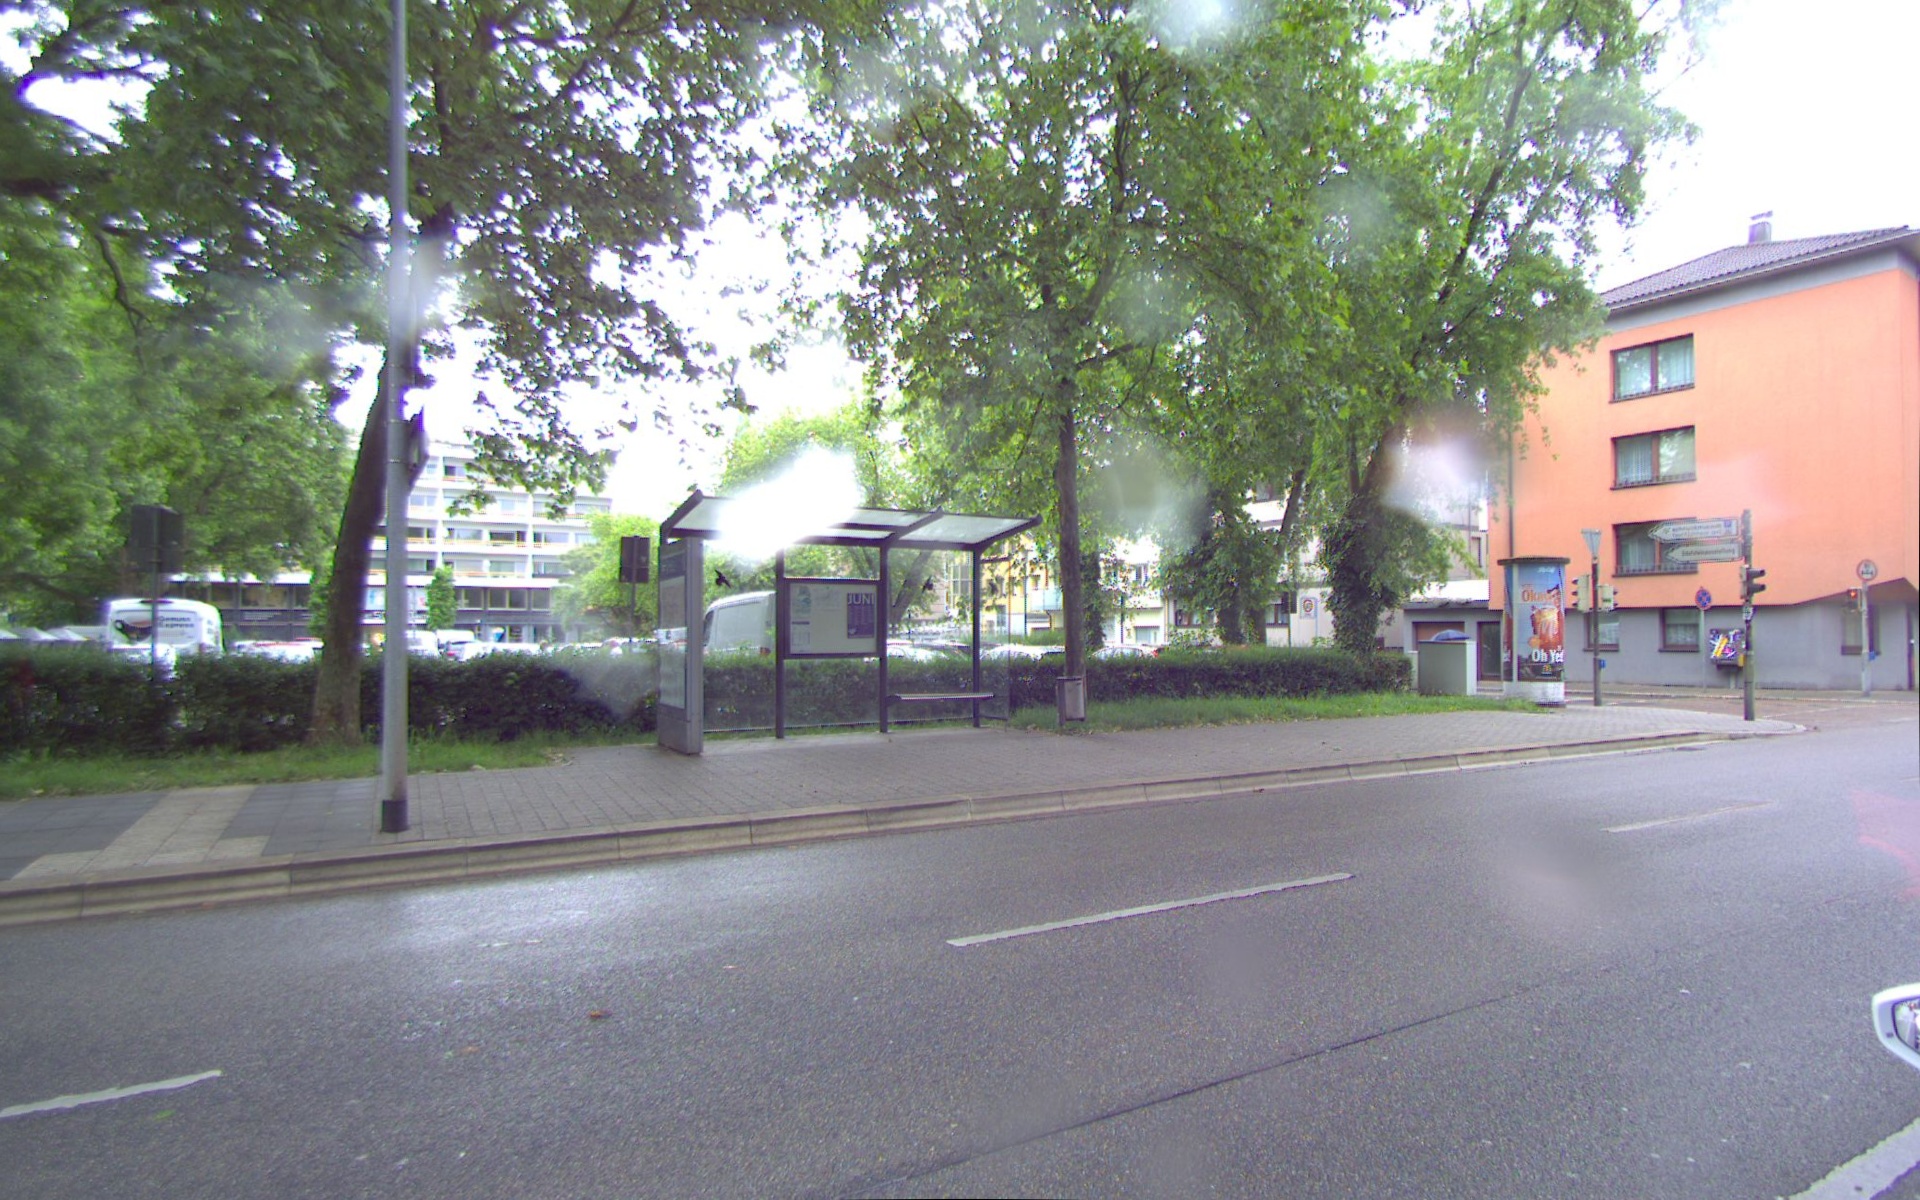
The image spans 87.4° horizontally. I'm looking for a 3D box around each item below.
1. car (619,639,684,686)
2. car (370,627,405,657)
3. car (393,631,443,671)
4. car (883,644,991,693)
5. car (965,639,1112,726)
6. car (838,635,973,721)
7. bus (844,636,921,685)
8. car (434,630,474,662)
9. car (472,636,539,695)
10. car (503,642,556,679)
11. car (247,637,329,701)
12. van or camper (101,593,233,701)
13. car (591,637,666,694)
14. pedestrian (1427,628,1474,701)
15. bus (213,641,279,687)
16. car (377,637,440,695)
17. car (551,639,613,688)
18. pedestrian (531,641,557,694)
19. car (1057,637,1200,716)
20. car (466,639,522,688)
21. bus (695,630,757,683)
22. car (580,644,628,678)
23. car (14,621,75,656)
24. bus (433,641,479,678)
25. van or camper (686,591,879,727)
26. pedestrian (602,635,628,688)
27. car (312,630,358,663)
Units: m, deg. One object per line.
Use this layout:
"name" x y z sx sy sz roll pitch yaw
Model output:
"car" -9.994 1.993 32.470 1.375 1.454 3.248 1 -3 -29
"car" -33.043 2.402 57.913 1.622 1.544 3.174 1 1 -32
"car" -20.901 1.947 38.685 1.587 1.447 3.293 2 -3 -30
"car" -0.834 2.226 33.515 1.799 1.536 3.965 2 -3 -33
"car" 1.583 1.659 21.168 1.492 1.544 3.174 2 0 -32
"car" -1.212 1.575 21.184 1.492 1.544 3.174 2 0 -32
"bus" -2.464 1.880 31.546 1.364 1.451 2.777 2 -3 -30
"car" -27.316 2.456 54.173 1.622 1.544 3.174 2 0 -32
"car" -12.091 1.711 26.646 1.375 1.454 3.248 1 -3 -29
"car" -17.697 2.455 41.235 1.587 1.447 3.293 2 -3 -30
"car" -16.512 1.662 24.787 1.375 1.454 3.248 1 -3 -29
"van or camper" -20.699 1.226 26.419 2.074 2.570 4.392 1 -3 -30
"car" -9.113 1.753 27.502 1.375 1.454 3.248 1 -3 -29
"pedestrian" 12.445 1.603 25.473 0.977 1.765 1.207 1 0 29
"bus" -25.616 2.278 36.127 1.587 1.559 3.403 2 -3 -30
"car" -14.734 1.739 26.847 1.375 1.454 3.248 1 -3 -29
"car" -11.959 1.968 31.677 1.375 1.454 3.248 1 -3 -29
"pedestrian" -9.856 1.596 23.803 0.462 1.229 0.434 2 0 -37
"car" 3.803 1.684 23.038 1.492 1.544 3.174 2 0 -32
"car" -14.543 1.946 31.278 1.375 1.454 3.248 1 -3 -29
"bus" -7.831 1.866 33.520 1.363 1.698 2.779 1 -3 -28
"car" -15.198 2.581 42.826 1.332 1.401 3.141 2 -3 -30
"car" -40.912 1.693 44.931 1.412 1.447 2.941 1 0 -30
"bus" -22.372 2.612 44.568 1.587 1.559 3.403 2 -3 -30
"van or camper" -3.431 1.058 18.690 2.026 2.198 4.458 2 -3 -32
"pedestrian" -8.359 1.480 24.310 0.462 1.229 0.434 2 0 -37
"car" -31.422 2.315 50.581 1.818 1.444 3.799 2 0 -31
